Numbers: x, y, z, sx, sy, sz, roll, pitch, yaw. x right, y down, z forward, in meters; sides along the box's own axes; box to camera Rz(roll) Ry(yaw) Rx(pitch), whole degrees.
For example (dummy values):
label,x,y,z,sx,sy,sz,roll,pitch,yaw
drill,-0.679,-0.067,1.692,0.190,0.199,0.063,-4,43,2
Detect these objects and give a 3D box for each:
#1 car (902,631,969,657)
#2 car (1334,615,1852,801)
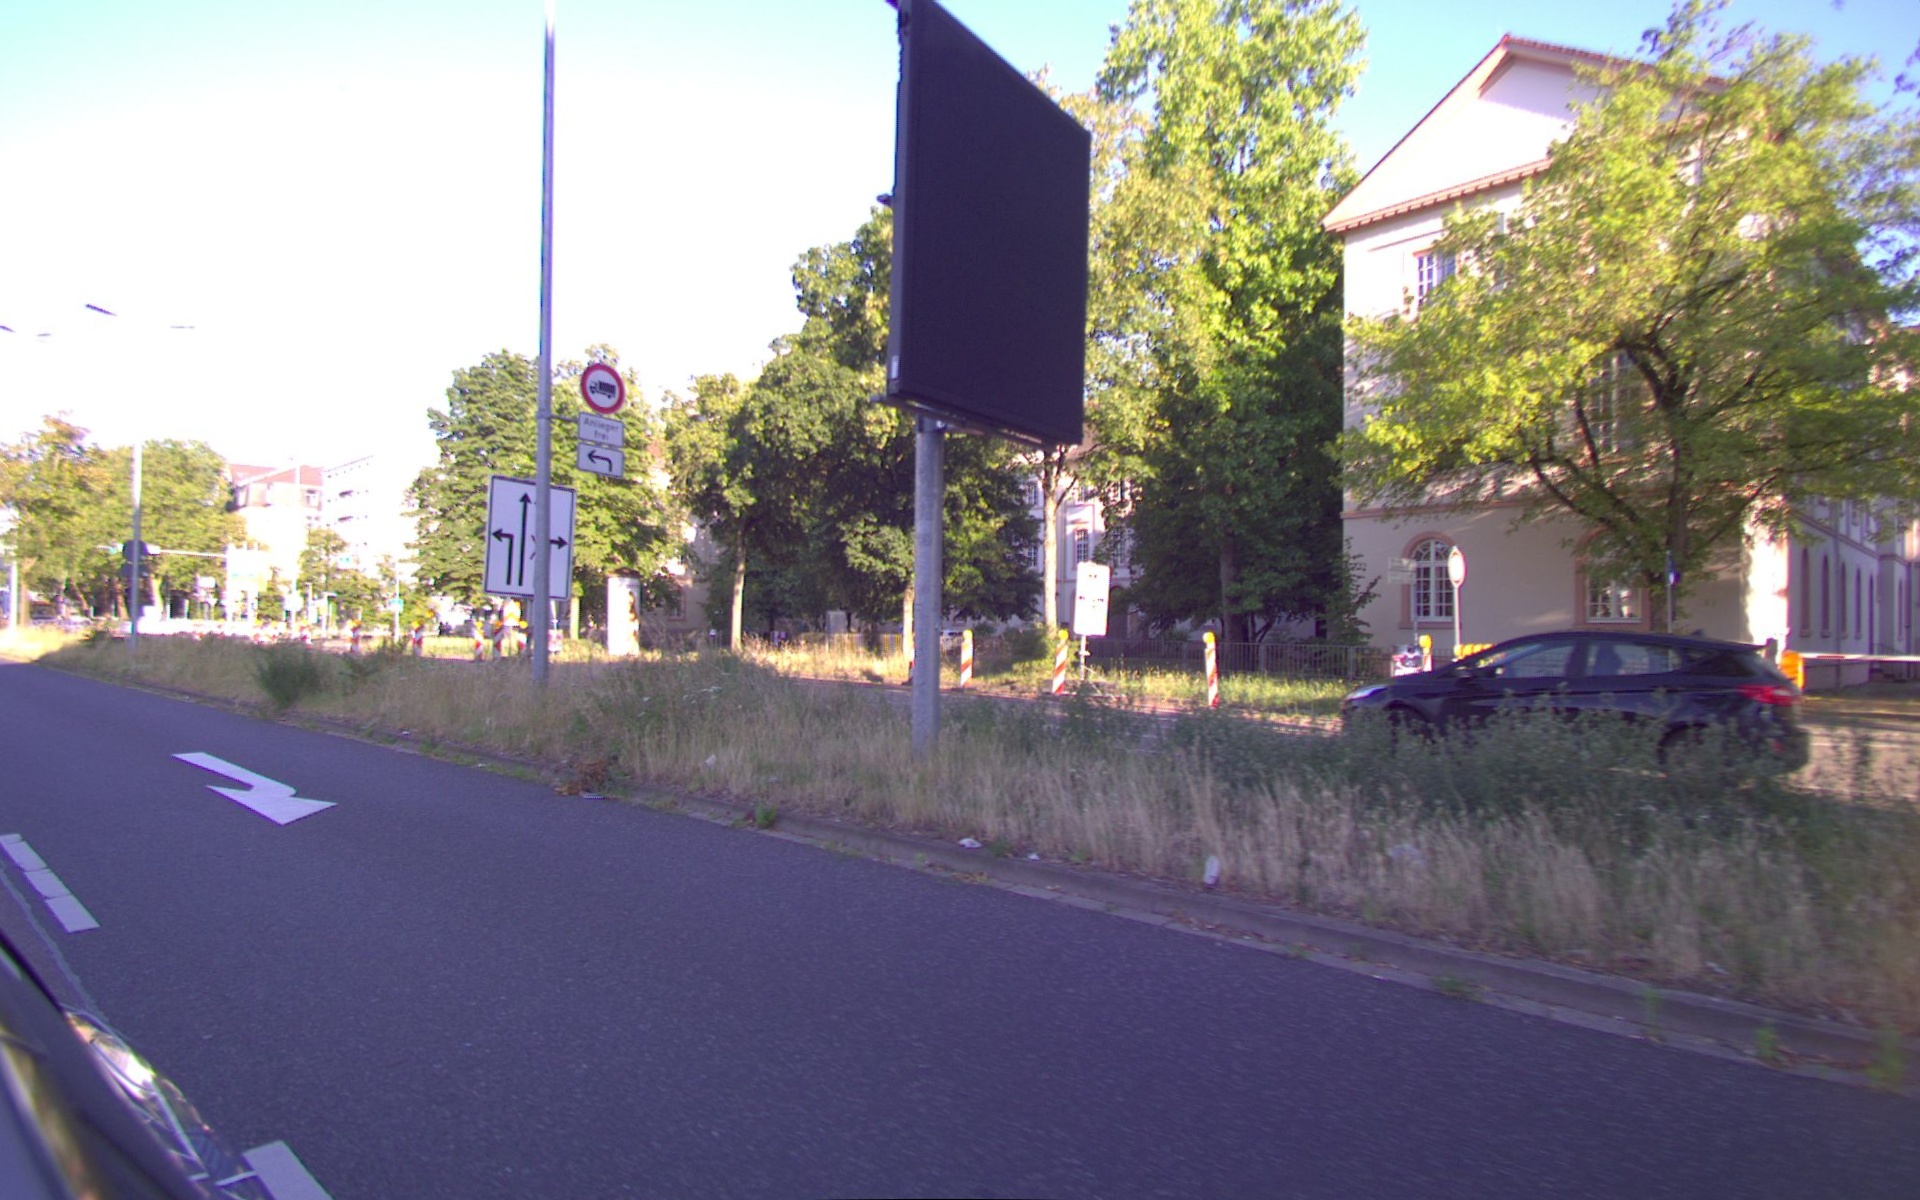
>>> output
label,x,y,z,sx,sy,sz,roll,pitch,yaw
car,-1.514,2.620,60.807,3.999,1.386,1.676,-1,0,43
car,5.969,0.923,9.835,4.008,1.428,1.754,-1,-5,43
